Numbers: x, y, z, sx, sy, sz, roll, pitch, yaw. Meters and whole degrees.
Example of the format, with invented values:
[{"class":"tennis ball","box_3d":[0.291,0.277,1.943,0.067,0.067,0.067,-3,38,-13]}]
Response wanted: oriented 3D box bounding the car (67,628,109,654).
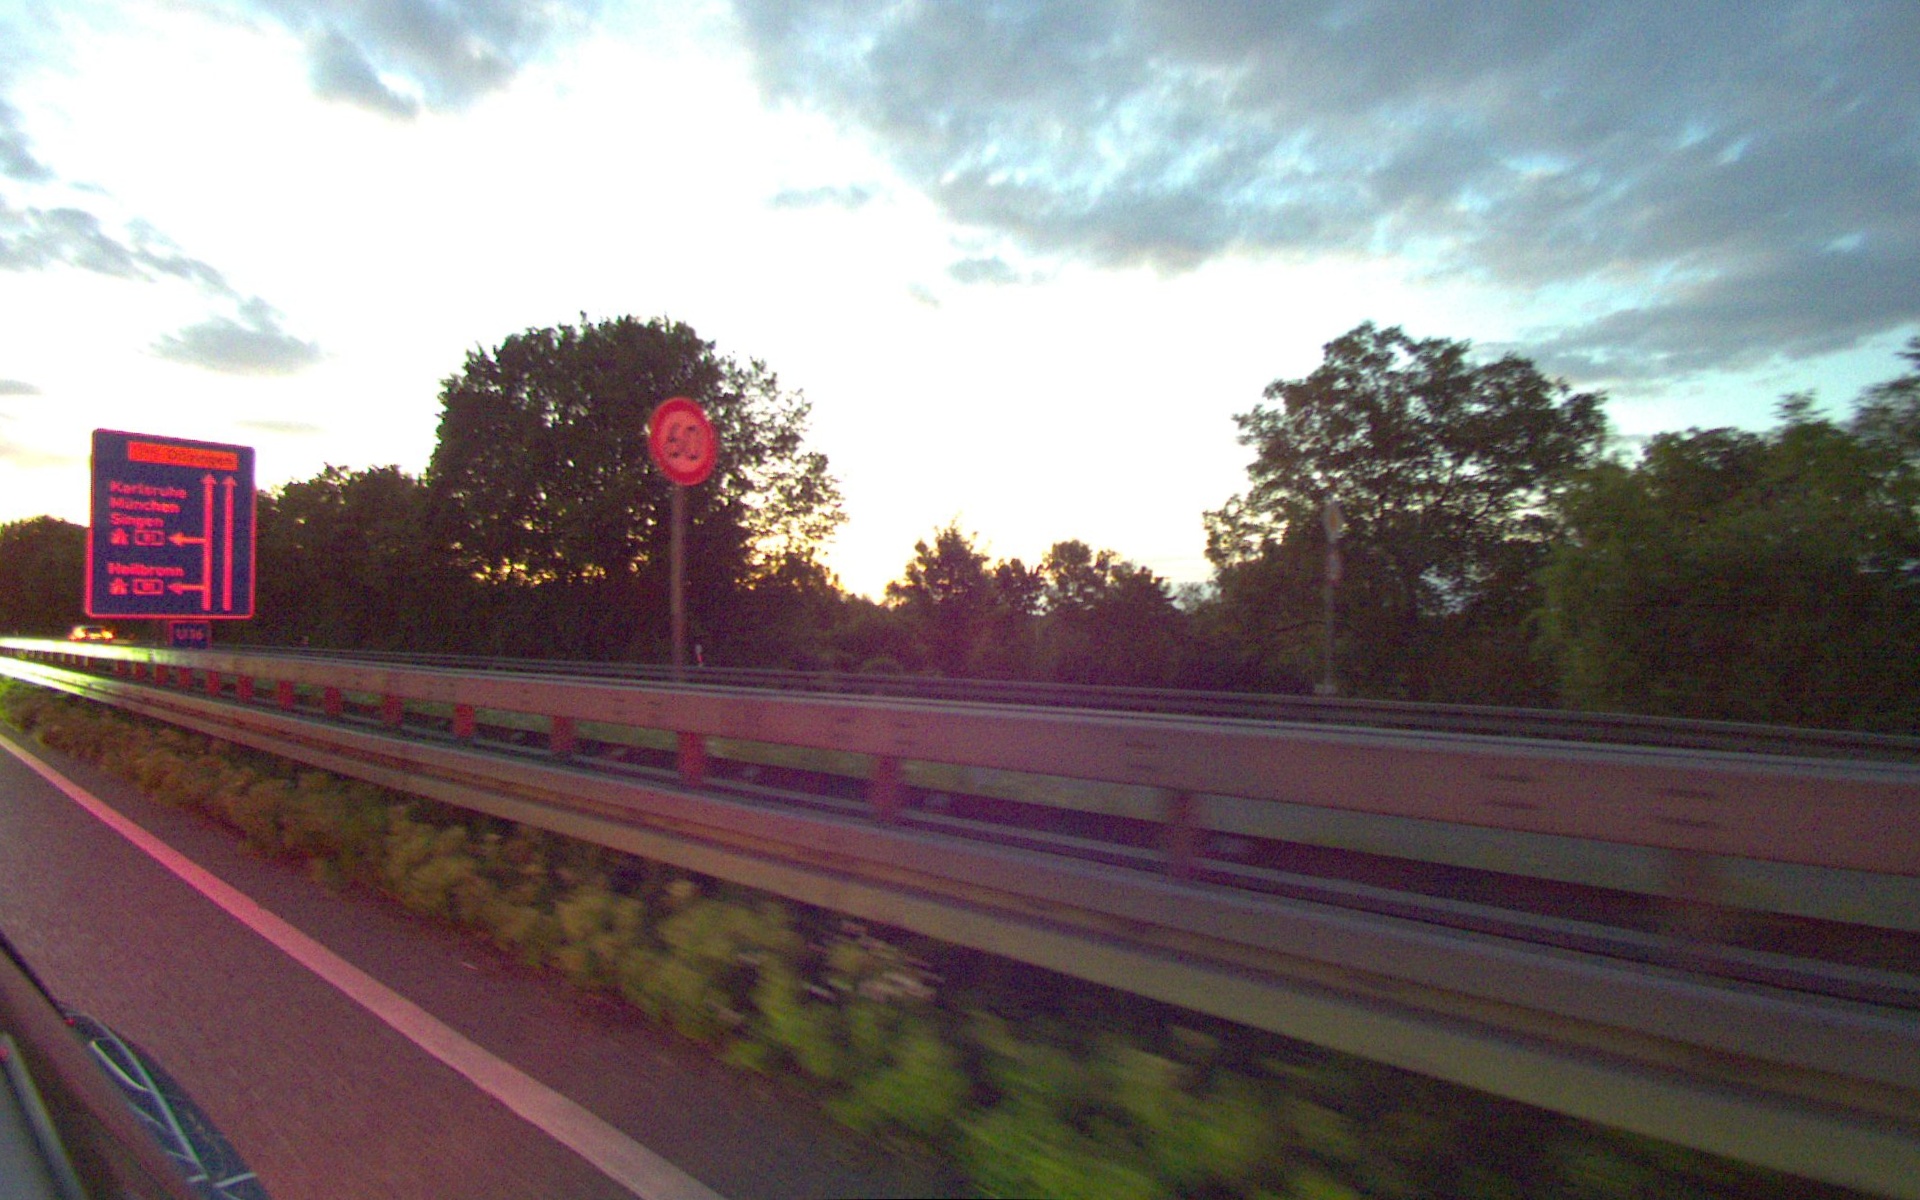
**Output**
[{"class":"car","box_3d":[-58.226,2.723,67.572,4.504,1.684,1.774,-1,-2,45]}]
